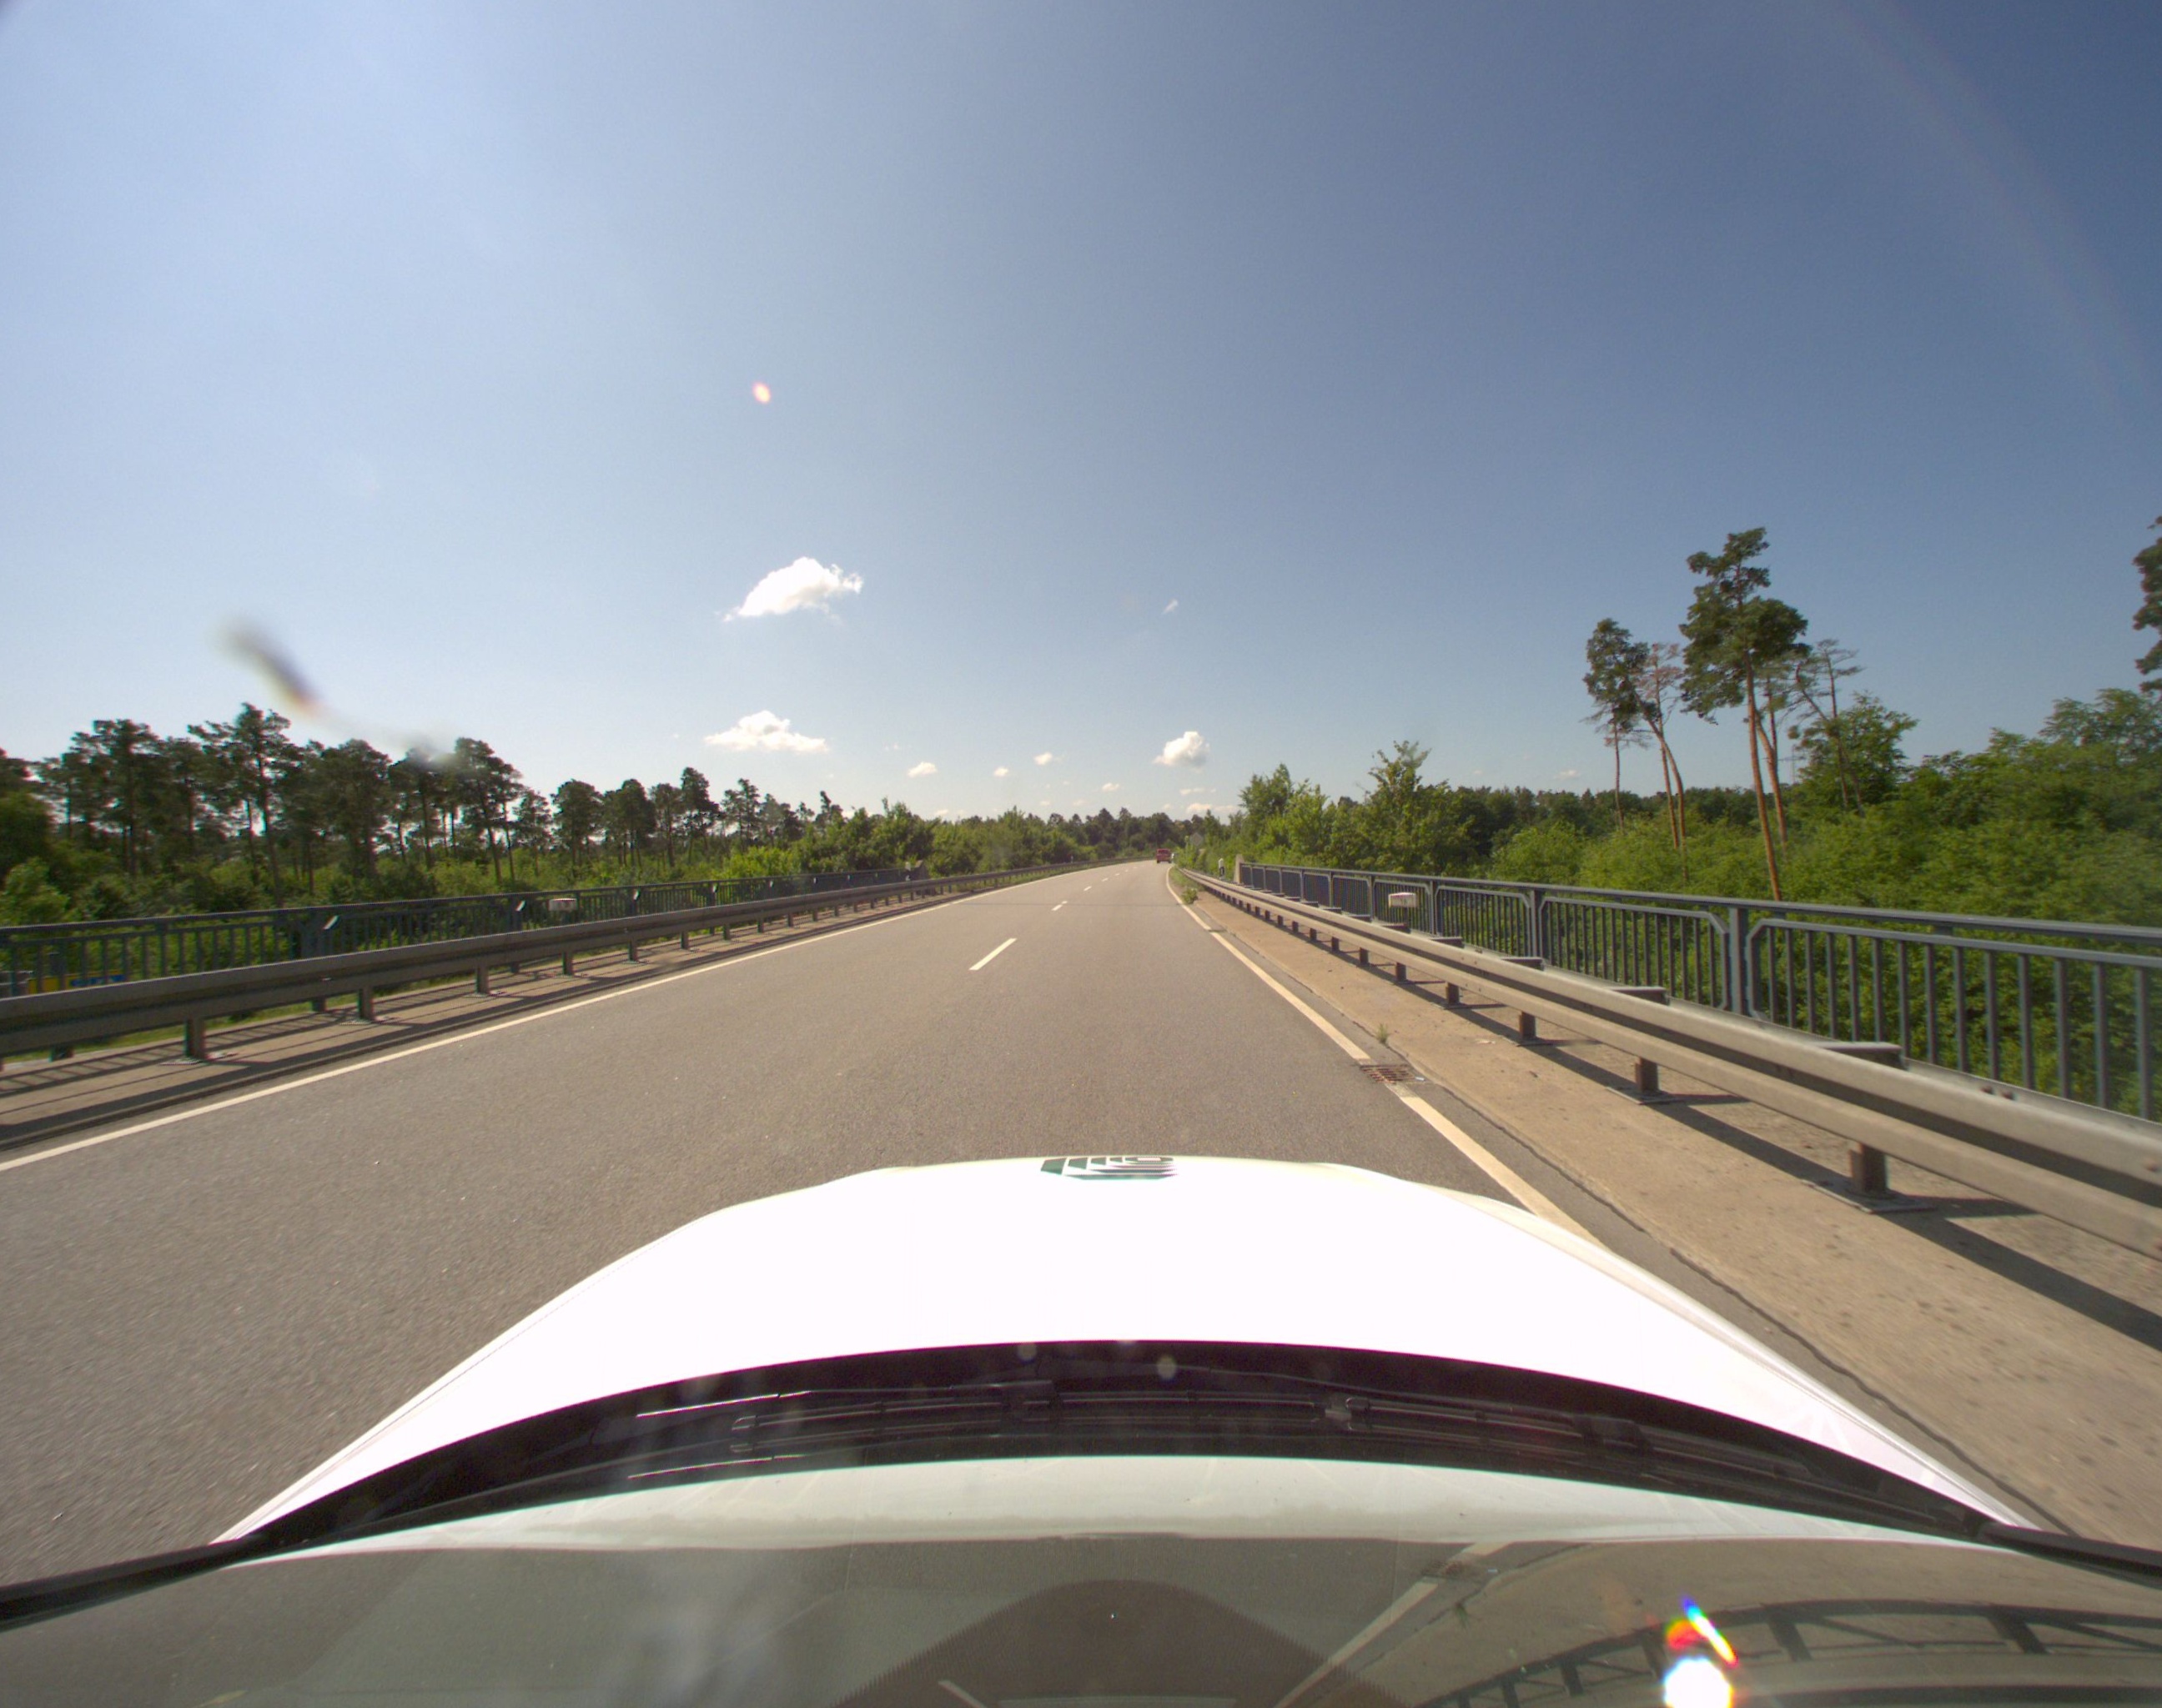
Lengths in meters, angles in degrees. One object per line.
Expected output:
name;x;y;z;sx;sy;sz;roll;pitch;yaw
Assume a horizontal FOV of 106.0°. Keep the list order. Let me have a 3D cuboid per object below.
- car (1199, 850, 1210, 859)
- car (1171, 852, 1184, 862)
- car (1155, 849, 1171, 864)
car;29.453;0.152;194.322;2.173;1.955;5.814;0;0;6
car;16.029;0.512;135.747;1.998;1.494;4.244;0;0;4
car;11.465;0.378;113.803;2.068;1.993;5.117;0;0;4
